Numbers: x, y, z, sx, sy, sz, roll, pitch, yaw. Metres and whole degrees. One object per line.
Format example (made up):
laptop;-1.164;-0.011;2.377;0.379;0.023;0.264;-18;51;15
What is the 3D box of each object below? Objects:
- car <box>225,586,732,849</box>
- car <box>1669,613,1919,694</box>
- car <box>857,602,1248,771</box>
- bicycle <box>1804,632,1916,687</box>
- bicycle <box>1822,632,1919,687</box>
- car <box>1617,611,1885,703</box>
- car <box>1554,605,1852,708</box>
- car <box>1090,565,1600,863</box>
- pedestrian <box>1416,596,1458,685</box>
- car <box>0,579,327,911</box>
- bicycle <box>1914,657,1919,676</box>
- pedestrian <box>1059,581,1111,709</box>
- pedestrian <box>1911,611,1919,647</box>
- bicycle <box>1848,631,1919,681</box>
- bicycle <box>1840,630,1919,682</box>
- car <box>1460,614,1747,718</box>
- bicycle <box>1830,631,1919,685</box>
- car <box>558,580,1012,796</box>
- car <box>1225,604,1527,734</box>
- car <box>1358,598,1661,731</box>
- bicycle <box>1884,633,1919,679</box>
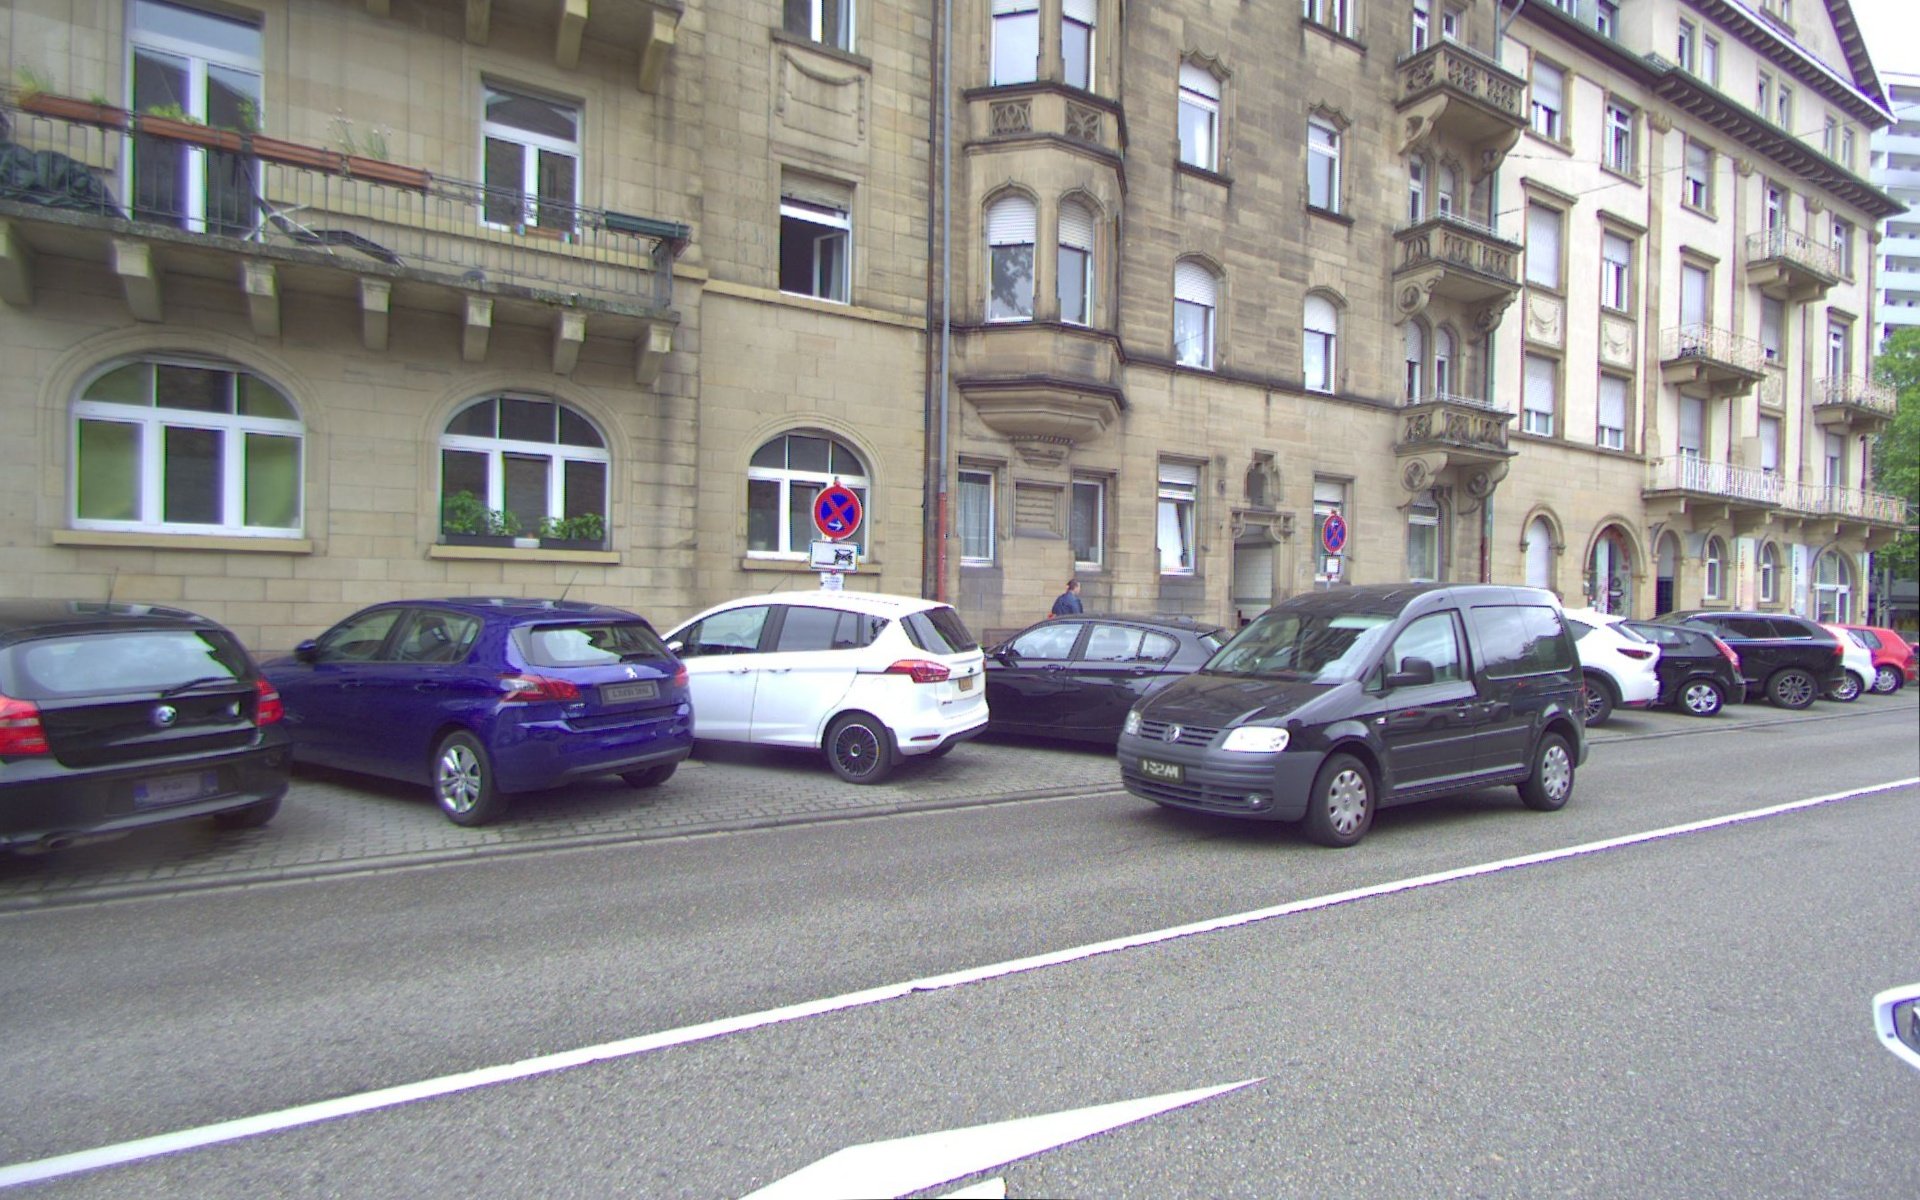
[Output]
car;-3.813;0.704;7.874;3.682;1.465;1.820;3;2;30
car;18.303;1.137;22.185;3.919;1.492;1.684;2;2;12
car;1.006;0.829;11.067;3.924;1.436;1.660;2;1;25
bicycle;21.311;1.393;23.836;0.436;1.050;1.879;1;4;-26
bicycle;22.049;1.410;24.169;0.437;1.050;1.876;0;6;-31
car;16.000;1.099;20.543;3.920;1.492;1.564;3;3;18
car;13.849;0.996;19.018;4.141;1.674;1.732;2;0;18
car;3.151;0.738;7.968;4.083;1.827;1.684;1;-1;-32
pedestrian;9.916;0.835;20.894;0.544;1.809;0.564;1;0;-29
car;-6.020;0.668;6.329;3.927;1.457;1.730;3;2;28
bicycle;25.348;1.795;25.175;1.017;0.451;1.876;-1;6;-31
pedestrian;1.977;0.695;15.963;0.544;1.984;0.616;1;0;-29
pedestrian;48.388;1.473;50.503;0.718;1.795;0.671;1;0;-30
bicycle;23.574;1.424;25.152;0.437;1.050;1.876;0;6;-31
bicycle;23.052;1.394;24.800;0.437;1.050;1.876;0;6;-31
car;10.952;1.070;17.443;3.923;1.514;1.731;2;0;23
bicycle;22.498;1.403;24.451;0.437;1.050;1.876;0;6;-31
car;-1.662;0.685;9.568;3.922;1.575;1.702;3;2;22
car;5.854;0.905;14.419;3.738;1.517;1.569;3;1;22
car;8.534;0.898;15.709;3.935;1.746;1.835;2;0;36
bicycle;24.310;1.473;24.937;0.437;1.050;1.876;0;6;-31
